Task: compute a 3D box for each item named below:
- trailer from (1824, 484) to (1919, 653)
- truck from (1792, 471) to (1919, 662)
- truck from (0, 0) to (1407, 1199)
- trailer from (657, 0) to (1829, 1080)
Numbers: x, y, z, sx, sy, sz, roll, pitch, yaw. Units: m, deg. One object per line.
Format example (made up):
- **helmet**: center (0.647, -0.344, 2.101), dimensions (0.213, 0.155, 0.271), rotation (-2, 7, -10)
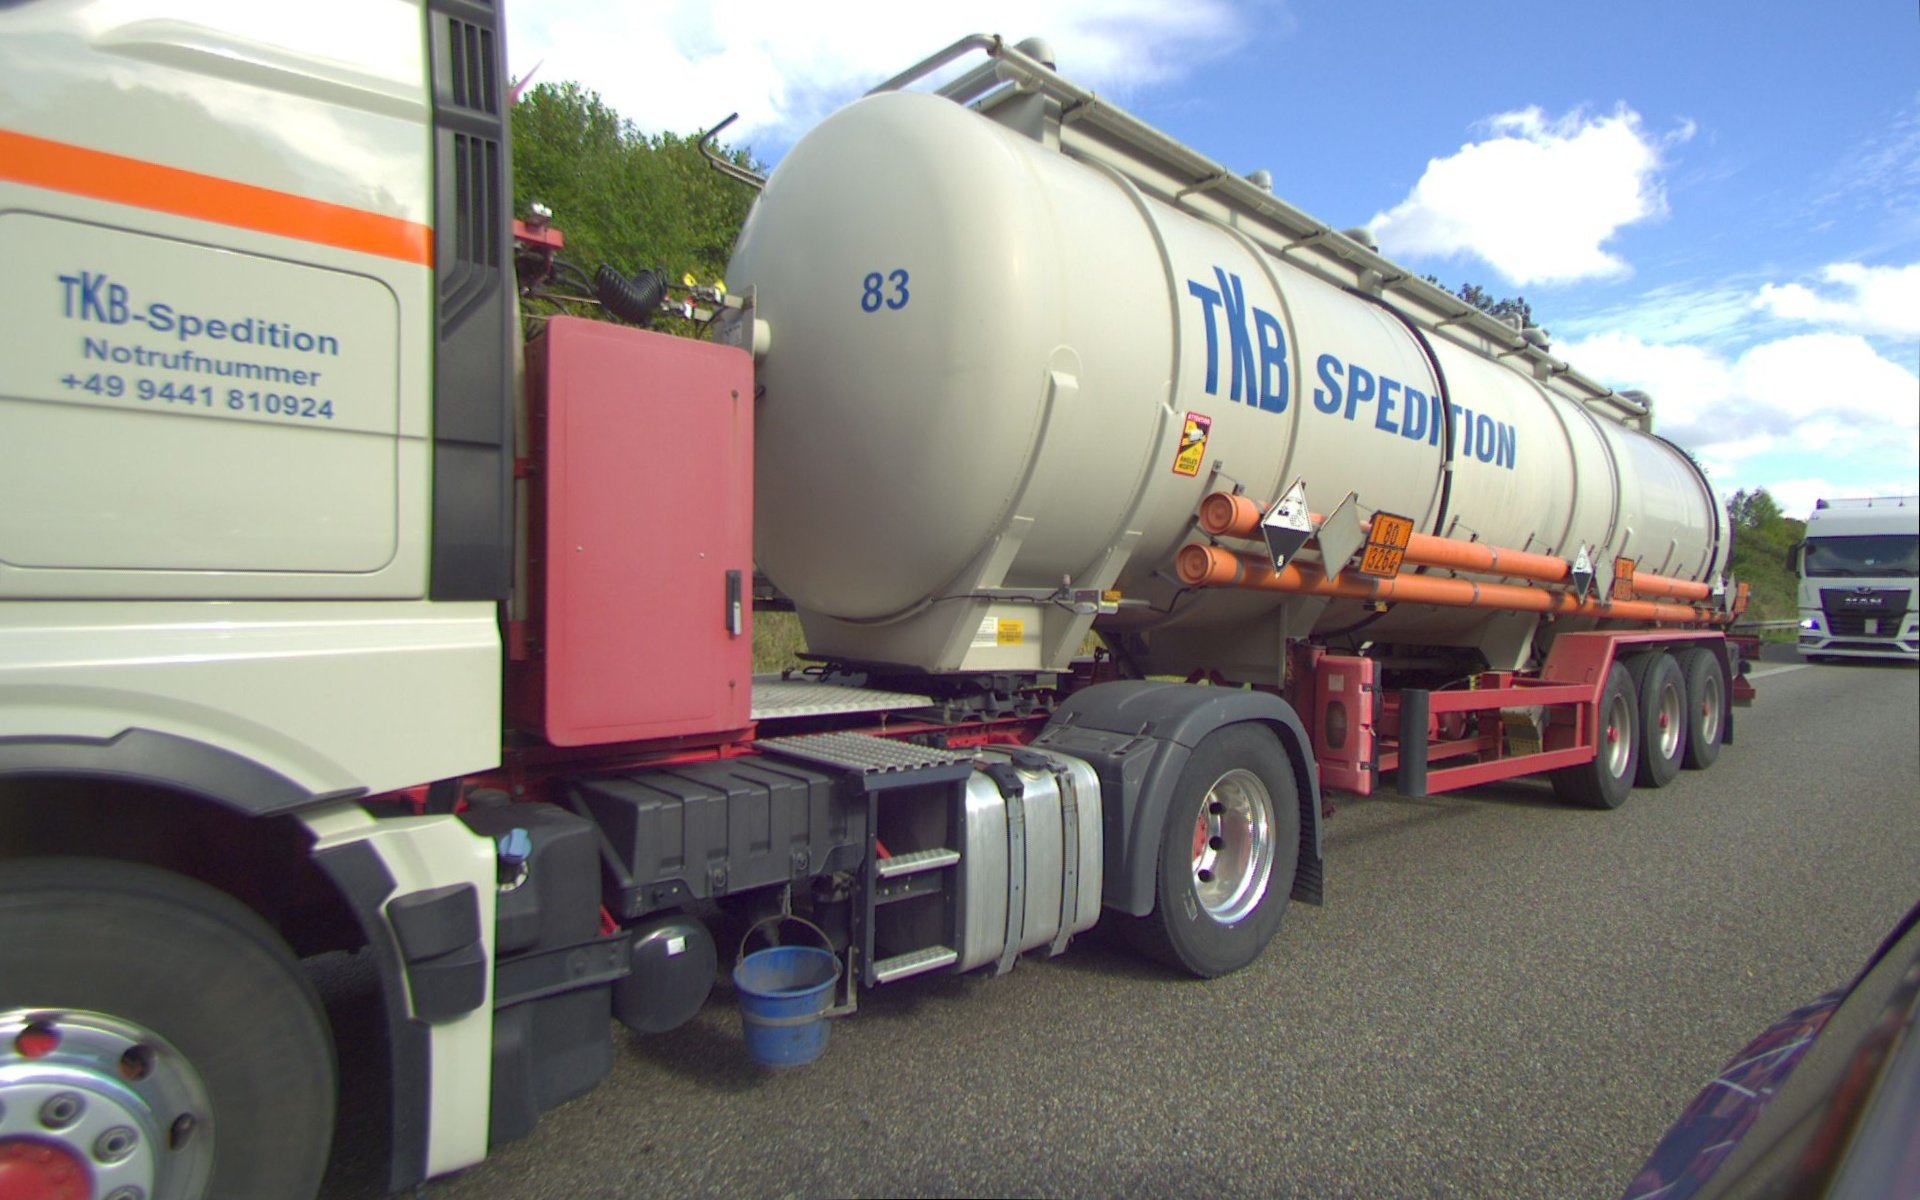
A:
- **trailer**: center (28.095, -0.803, 29.152), dimensions (13.135, 4.122, 2.831), rotation (0, 1, -40)
- **truck**: center (22.474, -0.750, 24.360), dimensions (5.606, 4.122, 2.839), rotation (0, 1, -40)
- **truck**: center (-1.192, -0.681, 3.550), dimensions (5.799, 4.094, 2.808), rotation (0, 1, -40)
- **trailer**: center (3.554, -0.685, 7.587), dimensions (10.984, 4.077, 2.804), rotation (0, 1, -40)
